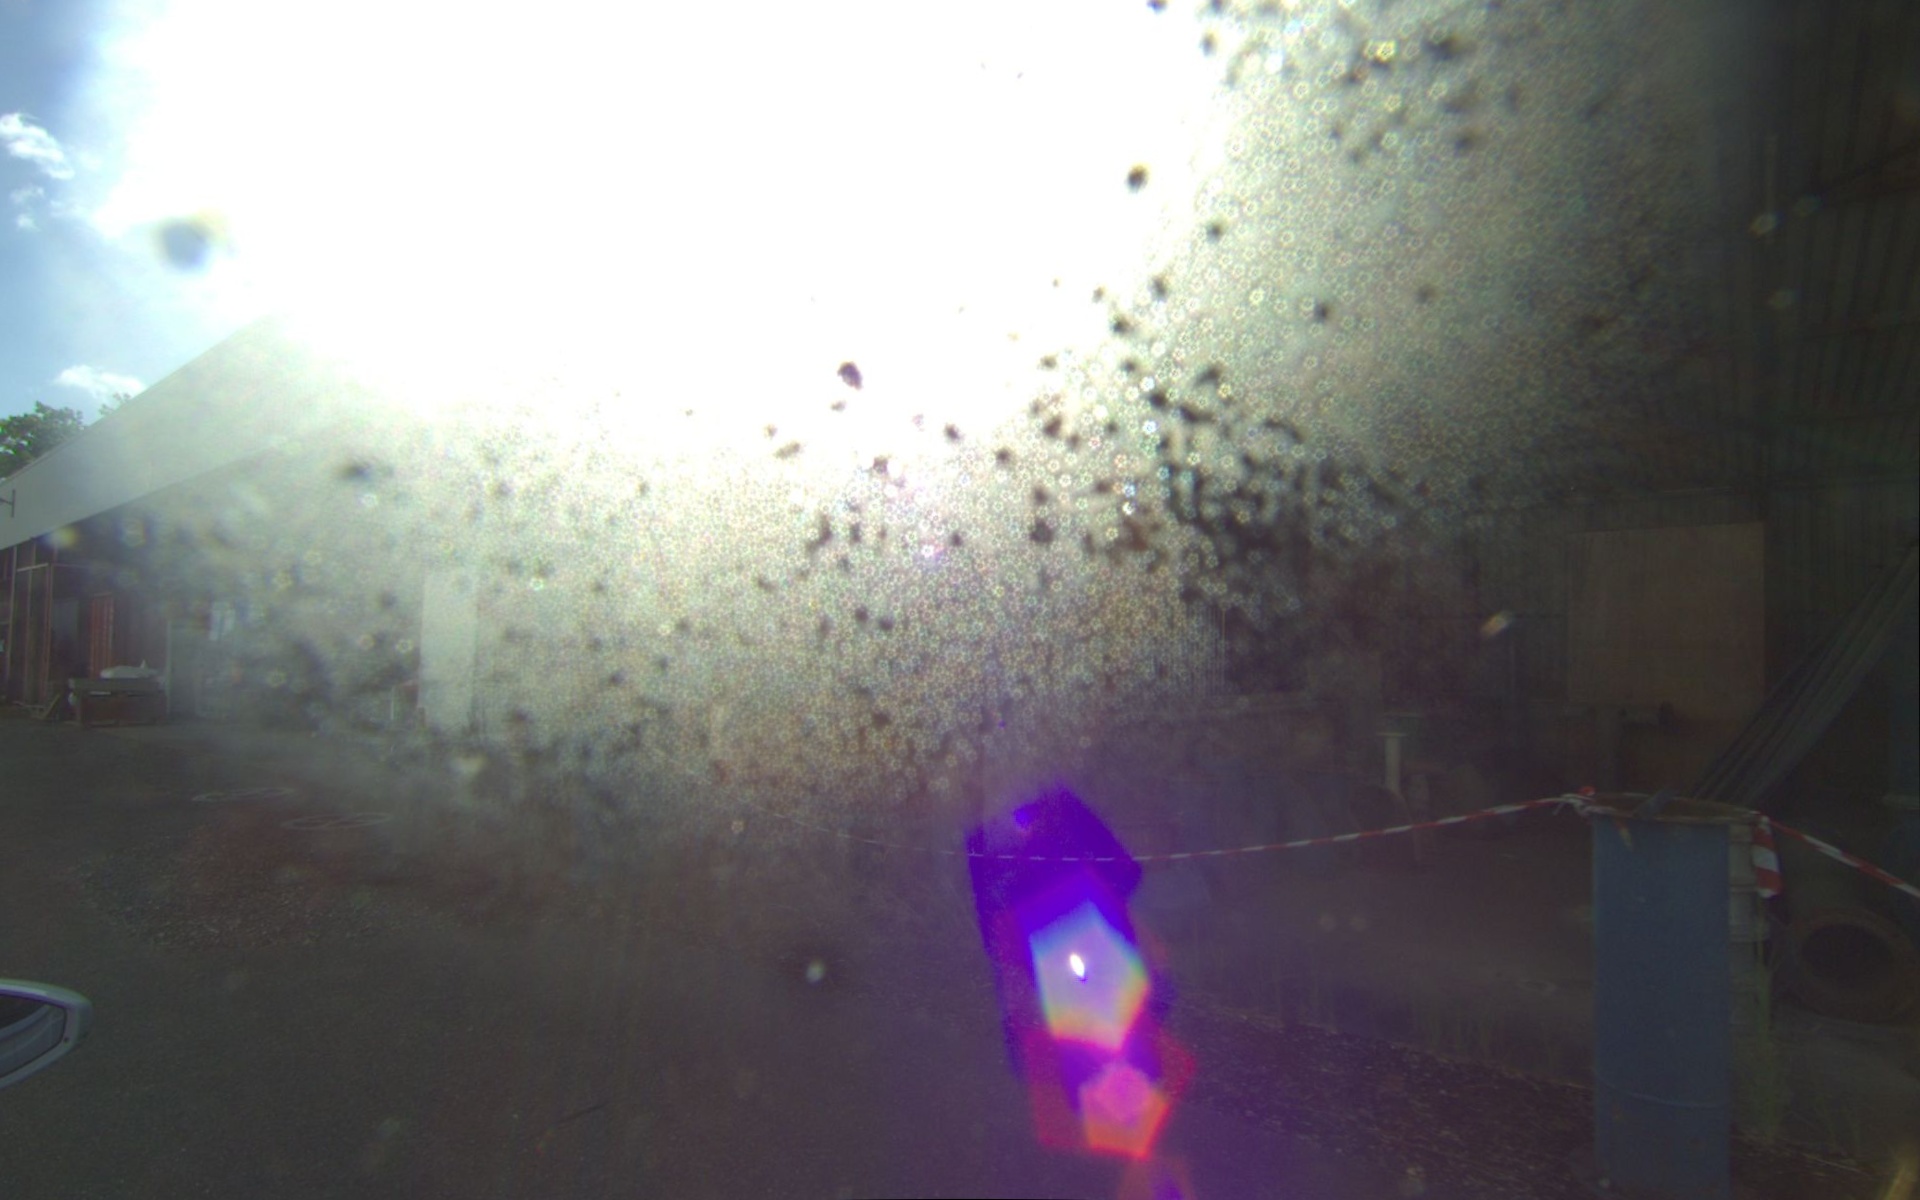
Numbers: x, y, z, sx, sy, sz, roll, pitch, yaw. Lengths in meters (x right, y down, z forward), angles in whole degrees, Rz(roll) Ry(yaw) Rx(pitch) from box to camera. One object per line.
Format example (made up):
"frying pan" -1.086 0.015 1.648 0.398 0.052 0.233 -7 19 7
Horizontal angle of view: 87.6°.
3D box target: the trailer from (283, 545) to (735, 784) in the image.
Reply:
"trailer" -5.383 0.799 12.527 1.808 2.420 4.788 -2 -4 44

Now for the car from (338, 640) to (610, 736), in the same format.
"car" -8.455 1.499 17.753 1.764 1.490 3.979 -1 -4 34

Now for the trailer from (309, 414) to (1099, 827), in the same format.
"trailer" -2.038 0.451 12.694 2.819 3.255 10.003 -1 -4 39

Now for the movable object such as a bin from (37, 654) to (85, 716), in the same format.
"movable object such as a bin" -17.788 1.662 19.802 1.225 1.179 0.579 -2 -3 44

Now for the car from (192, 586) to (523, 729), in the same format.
"car" -11.233 1.114 19.026 1.976 2.354 4.962 -1 -4 39

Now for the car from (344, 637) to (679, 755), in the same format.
"car" -6.576 1.371 15.150 1.754 1.514 4.317 -1 -4 37
